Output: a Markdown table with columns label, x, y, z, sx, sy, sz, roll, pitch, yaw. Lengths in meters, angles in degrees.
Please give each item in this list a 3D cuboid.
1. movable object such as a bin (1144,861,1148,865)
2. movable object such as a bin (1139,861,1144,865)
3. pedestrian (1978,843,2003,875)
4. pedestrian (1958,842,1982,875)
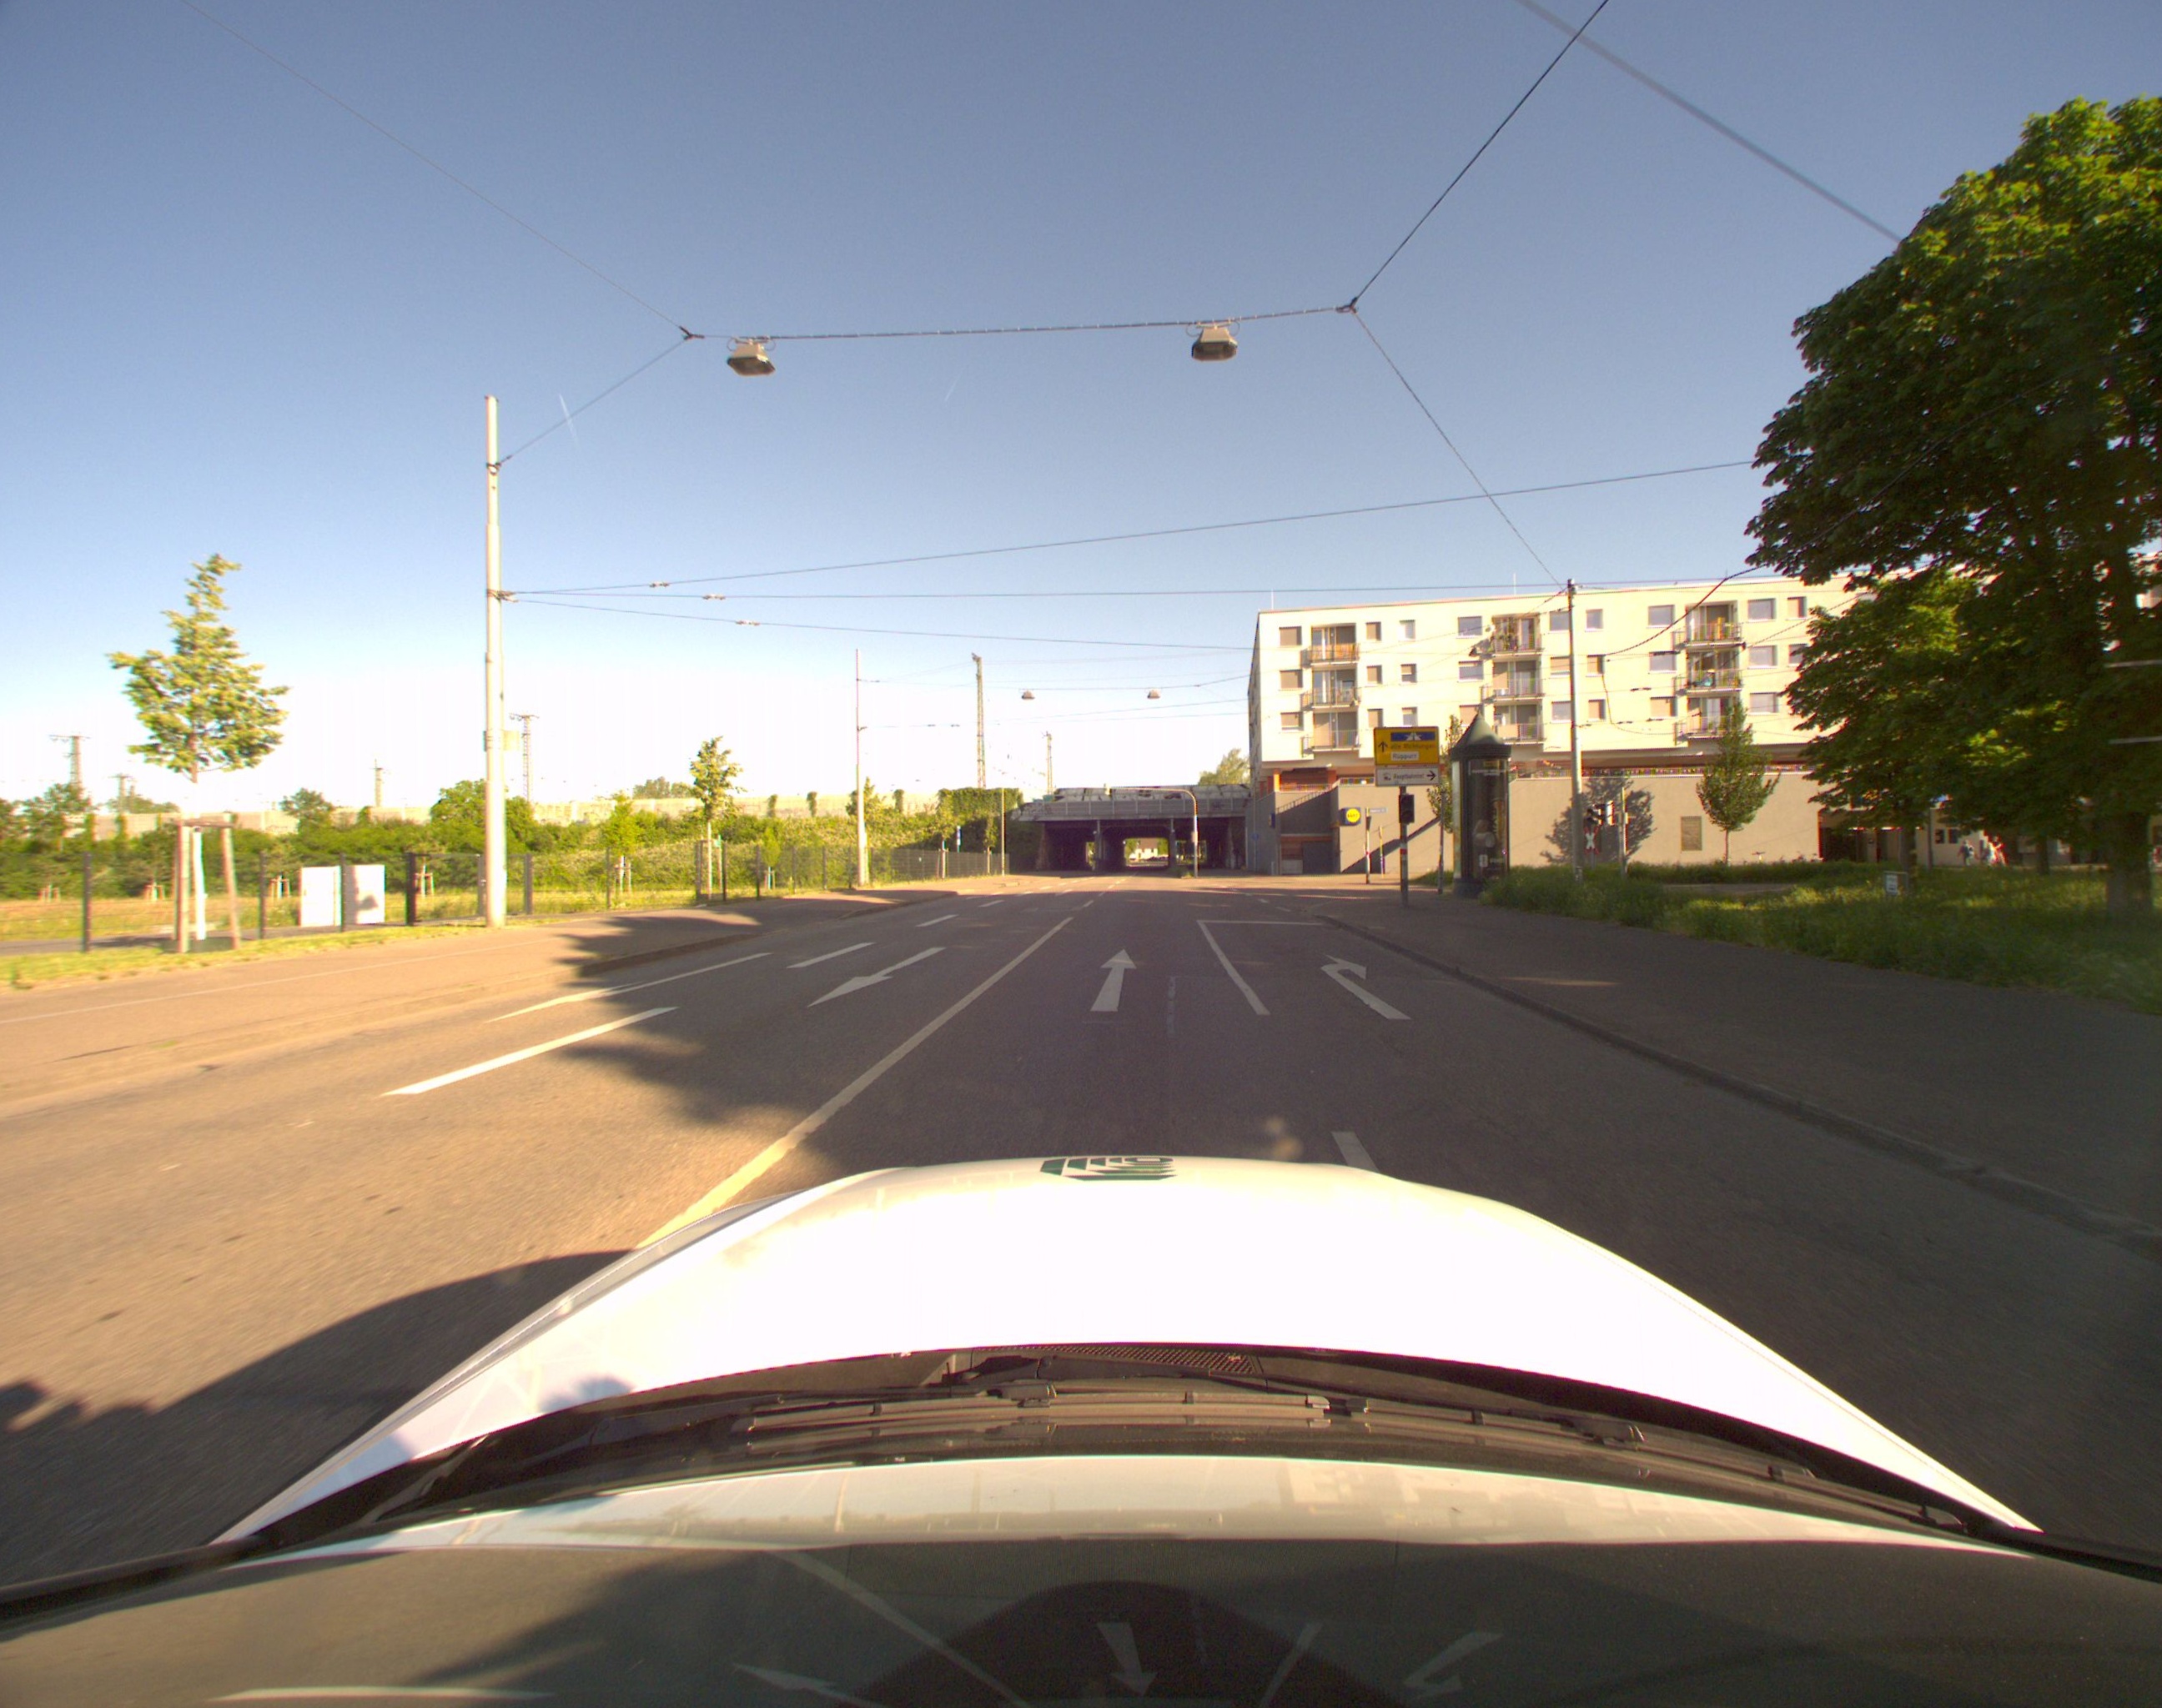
| label | x | y | z | sx | sy | sz | roll | pitch | yaw |
| --- | --- | --- | --- | --- | --- | --- | --- | --- | --- |
| movable object such as a bin | 20.567 | 2.909 | 258.192 | 1.361 | 1.418 | 1.065 | 2 | -2 | -2 |
| movable object such as a bin | 19.161 | 2.869 | 258.061 | 1.361 | 1.418 | 1.065 | 2 | -2 | -2 |
| pedestrian | 48.404 | 0.263 | 43.341 | 0.655 | 1.702 | 0.603 | 1 | -2 | 22 |
| pedestrian | 47.600 | 0.248 | 43.604 | 0.655 | 1.702 | 0.603 | 1 | -2 | 22 |
